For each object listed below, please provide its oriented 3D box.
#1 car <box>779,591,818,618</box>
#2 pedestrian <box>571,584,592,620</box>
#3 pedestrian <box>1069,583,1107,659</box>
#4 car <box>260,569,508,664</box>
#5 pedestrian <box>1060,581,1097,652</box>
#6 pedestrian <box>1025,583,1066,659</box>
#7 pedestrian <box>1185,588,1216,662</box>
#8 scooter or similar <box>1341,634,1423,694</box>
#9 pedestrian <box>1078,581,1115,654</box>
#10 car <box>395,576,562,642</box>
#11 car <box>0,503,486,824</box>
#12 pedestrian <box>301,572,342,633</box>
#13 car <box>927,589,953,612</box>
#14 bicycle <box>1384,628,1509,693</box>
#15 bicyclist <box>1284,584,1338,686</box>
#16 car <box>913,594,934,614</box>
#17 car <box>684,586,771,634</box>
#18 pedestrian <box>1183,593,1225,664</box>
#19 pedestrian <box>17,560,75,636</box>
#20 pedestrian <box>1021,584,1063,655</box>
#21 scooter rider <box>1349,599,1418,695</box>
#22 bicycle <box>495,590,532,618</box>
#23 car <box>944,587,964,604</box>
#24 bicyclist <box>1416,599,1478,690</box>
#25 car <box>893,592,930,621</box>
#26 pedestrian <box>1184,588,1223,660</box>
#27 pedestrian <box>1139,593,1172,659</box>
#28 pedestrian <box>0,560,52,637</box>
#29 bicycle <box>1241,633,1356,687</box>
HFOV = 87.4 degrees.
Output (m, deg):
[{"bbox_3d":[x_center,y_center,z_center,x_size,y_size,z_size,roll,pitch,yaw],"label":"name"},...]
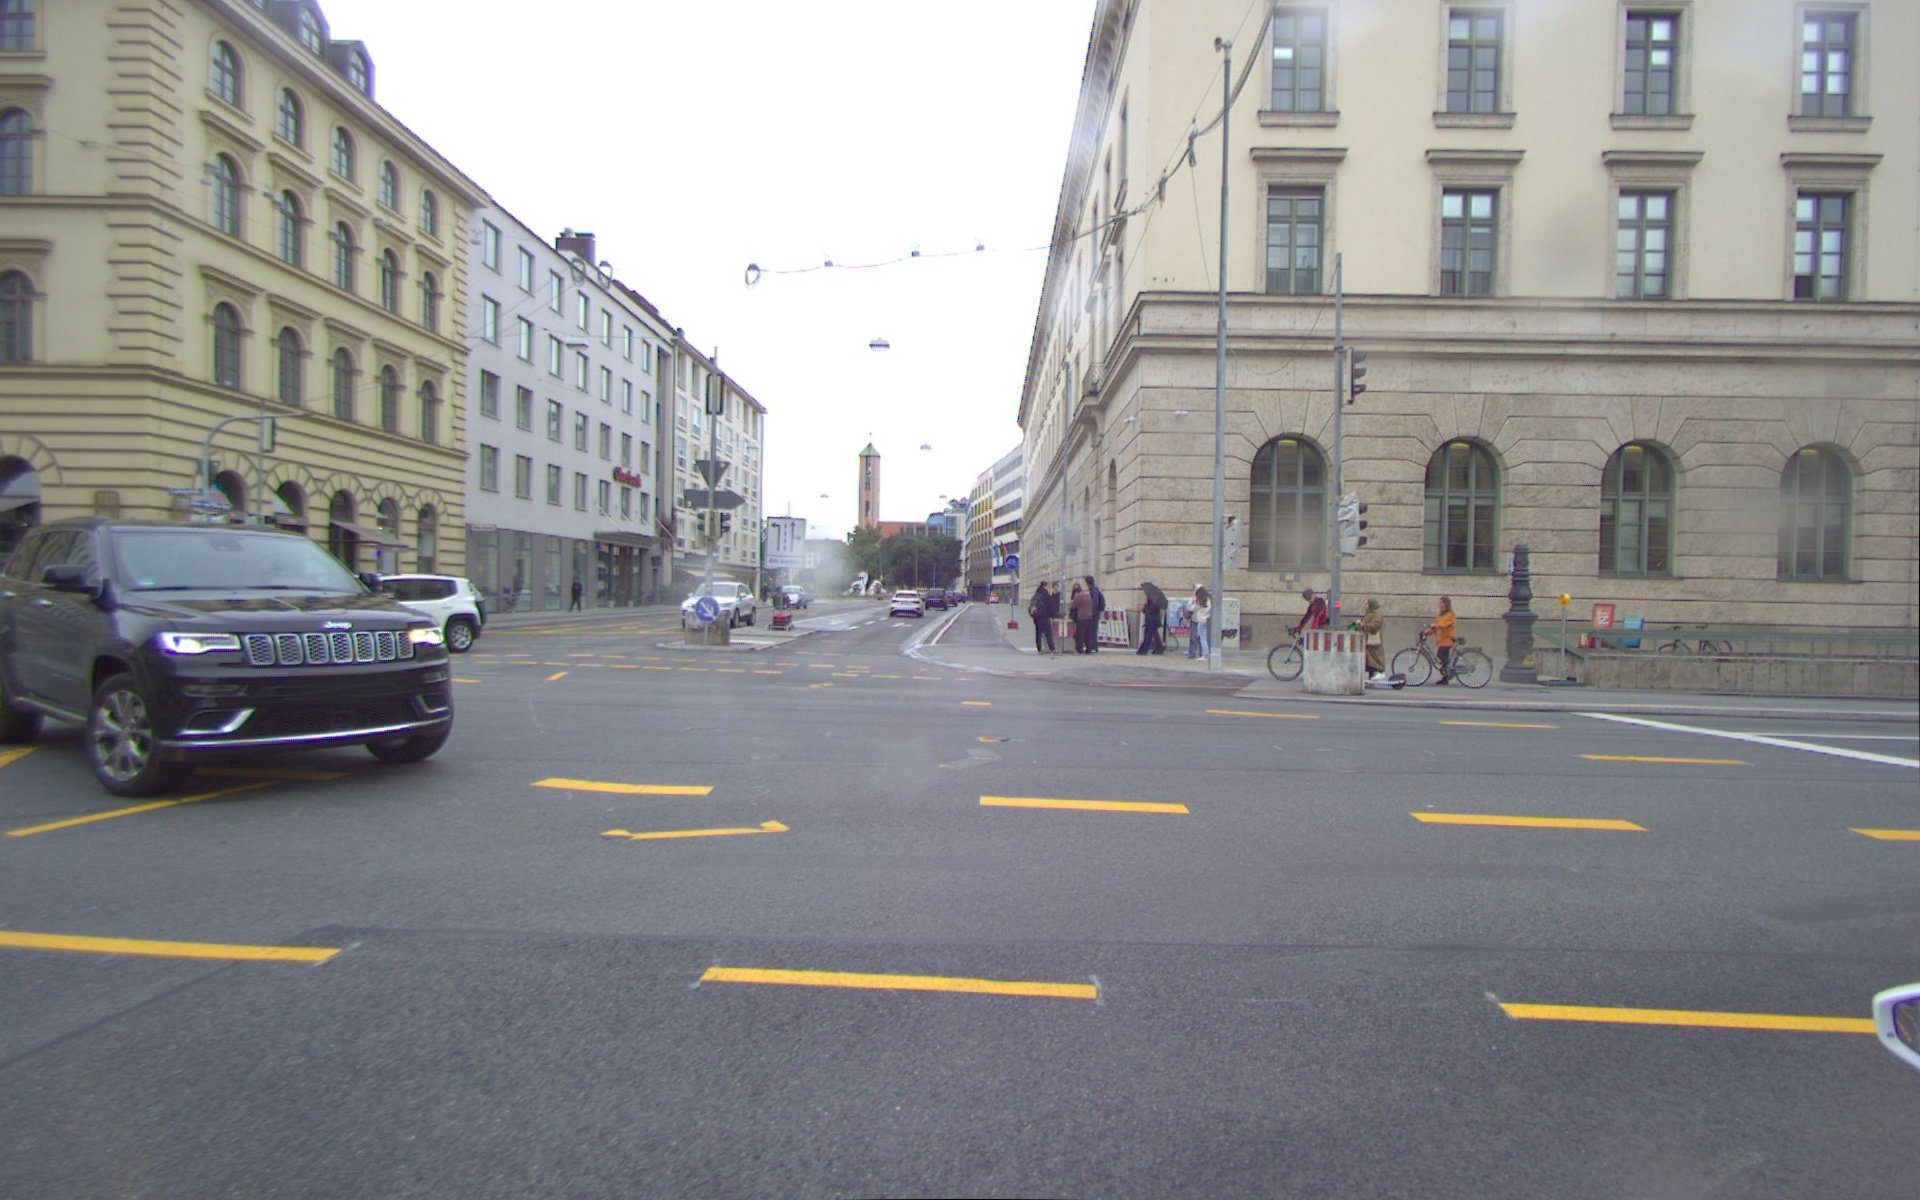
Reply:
[{"bbox_3d":[-11.246,0.307,70.233,1.960,1.758,4.233,1,1,1],"label":"car"},{"bbox_3d":[-19.402,0.094,51.534,0.724,1.795,0.736,2,1,0],"label":"pedestrian"},{"bbox_3d":[3.120,0.504,24.481,0.575,1.779,0.818,3,1,32],"label":"pedestrian"},{"bbox_3d":[-11.613,0.286,20.599,1.764,1.700,4.231,1,1,21],"label":"car"},{"bbox_3d":[3.099,0.423,26.295,0.803,1.779,0.586,3,1,15],"label":"pedestrian"},{"bbox_3d":[2.067,0.496,24.269,0.803,1.779,0.680,3,1,17],"label":"pedestrian"},{"bbox_3d":[5.661,0.571,23.656,0.605,1.694,0.542,3,1,9],"label":"pedestrian"},{"bbox_3d":[7.531,1.132,17.961,1.190,0.978,0.588,3,1,2],"label":"scooter or similar"},{"bbox_3d":[3.442,0.435,25.344,0.575,1.779,0.818,3,1,32],"label":"pedestrian"},{"bbox_3d":[-13.656,0.229,28.769,1.706,1.700,4.230,2,1,23],"label":"car"},{"bbox_3d":[-5.707,0.301,7.693,4.514,1.758,1.992,2,1,39],"label":"car"},{"bbox_3d":[-19.347,0.087,30.451,0.725,1.795,0.735,3,1,25],"label":"pedestrian"},{"bbox_3d":[-1.504,0.010,77.321,1.834,1.623,3.851,1,1,0],"label":"car"},{"bbox_3d":[9.103,1.122,18.851,1.925,1.054,0.795,3,1,4],"label":"bicycle"},{"bbox_3d":[6.690,0.655,19.177,0.731,1.867,0.661,3,1,4],"label":"bicyclist"},{"bbox_3d":[-3.878,0.369,107.044,1.960,2.041,4.000,2,1,0],"label":"car"},{"bbox_3d":[-7.972,0.304,34.816,1.960,1.544,4.233,1,1,0],"label":"car"},{"bbox_3d":[5.553,0.640,22.929,0.803,1.578,0.667,3,1,9],"label":"pedestrian"},{"bbox_3d":[-22.351,-0.059,24.588,0.723,1.795,0.738,2,1,-9],"label":"pedestrian"},{"bbox_3d":[2.105,0.505,25.822,0.810,1.779,0.581,2,1,-30],"label":"pedestrian"},{"bbox_3d":[7.566,0.821,17.962,0.917,1.644,0.592,3,1,2],"label":"scooter rider"},{"bbox_3d":[-20.766,0.173,46.737,0.588,1.259,2.199,3,1,3],"label":"bicycle"},{"bbox_3d":[-0.537,-0.457,97.691,1.834,1.623,3.851,1,1,0],"label":"car"},{"bbox_3d":[9.124,0.811,18.847,0.731,1.636,0.795,3,1,4],"label":"bicyclist"},{"bbox_3d":[-2.665,0.334,56.294,1.783,1.443,4.452,3,1,0],"label":"car"},{"bbox_3d":[5.944,0.571,24.557,0.703,1.716,0.820,2,1,2],"label":"pedestrian"},{"bbox_3d":[4.749,0.623,24.469,0.654,1.548,0.820,3,1,6],"label":"pedestrian"},{"bbox_3d":[-22.248,-0.040,23.835,0.723,1.795,0.738,2,1,-9],"label":"pedestrian"},{"bbox_3d":[6.441,1.131,19.197,1.939,0.891,0.662,3,1,4],"label":"bicycle"}]
